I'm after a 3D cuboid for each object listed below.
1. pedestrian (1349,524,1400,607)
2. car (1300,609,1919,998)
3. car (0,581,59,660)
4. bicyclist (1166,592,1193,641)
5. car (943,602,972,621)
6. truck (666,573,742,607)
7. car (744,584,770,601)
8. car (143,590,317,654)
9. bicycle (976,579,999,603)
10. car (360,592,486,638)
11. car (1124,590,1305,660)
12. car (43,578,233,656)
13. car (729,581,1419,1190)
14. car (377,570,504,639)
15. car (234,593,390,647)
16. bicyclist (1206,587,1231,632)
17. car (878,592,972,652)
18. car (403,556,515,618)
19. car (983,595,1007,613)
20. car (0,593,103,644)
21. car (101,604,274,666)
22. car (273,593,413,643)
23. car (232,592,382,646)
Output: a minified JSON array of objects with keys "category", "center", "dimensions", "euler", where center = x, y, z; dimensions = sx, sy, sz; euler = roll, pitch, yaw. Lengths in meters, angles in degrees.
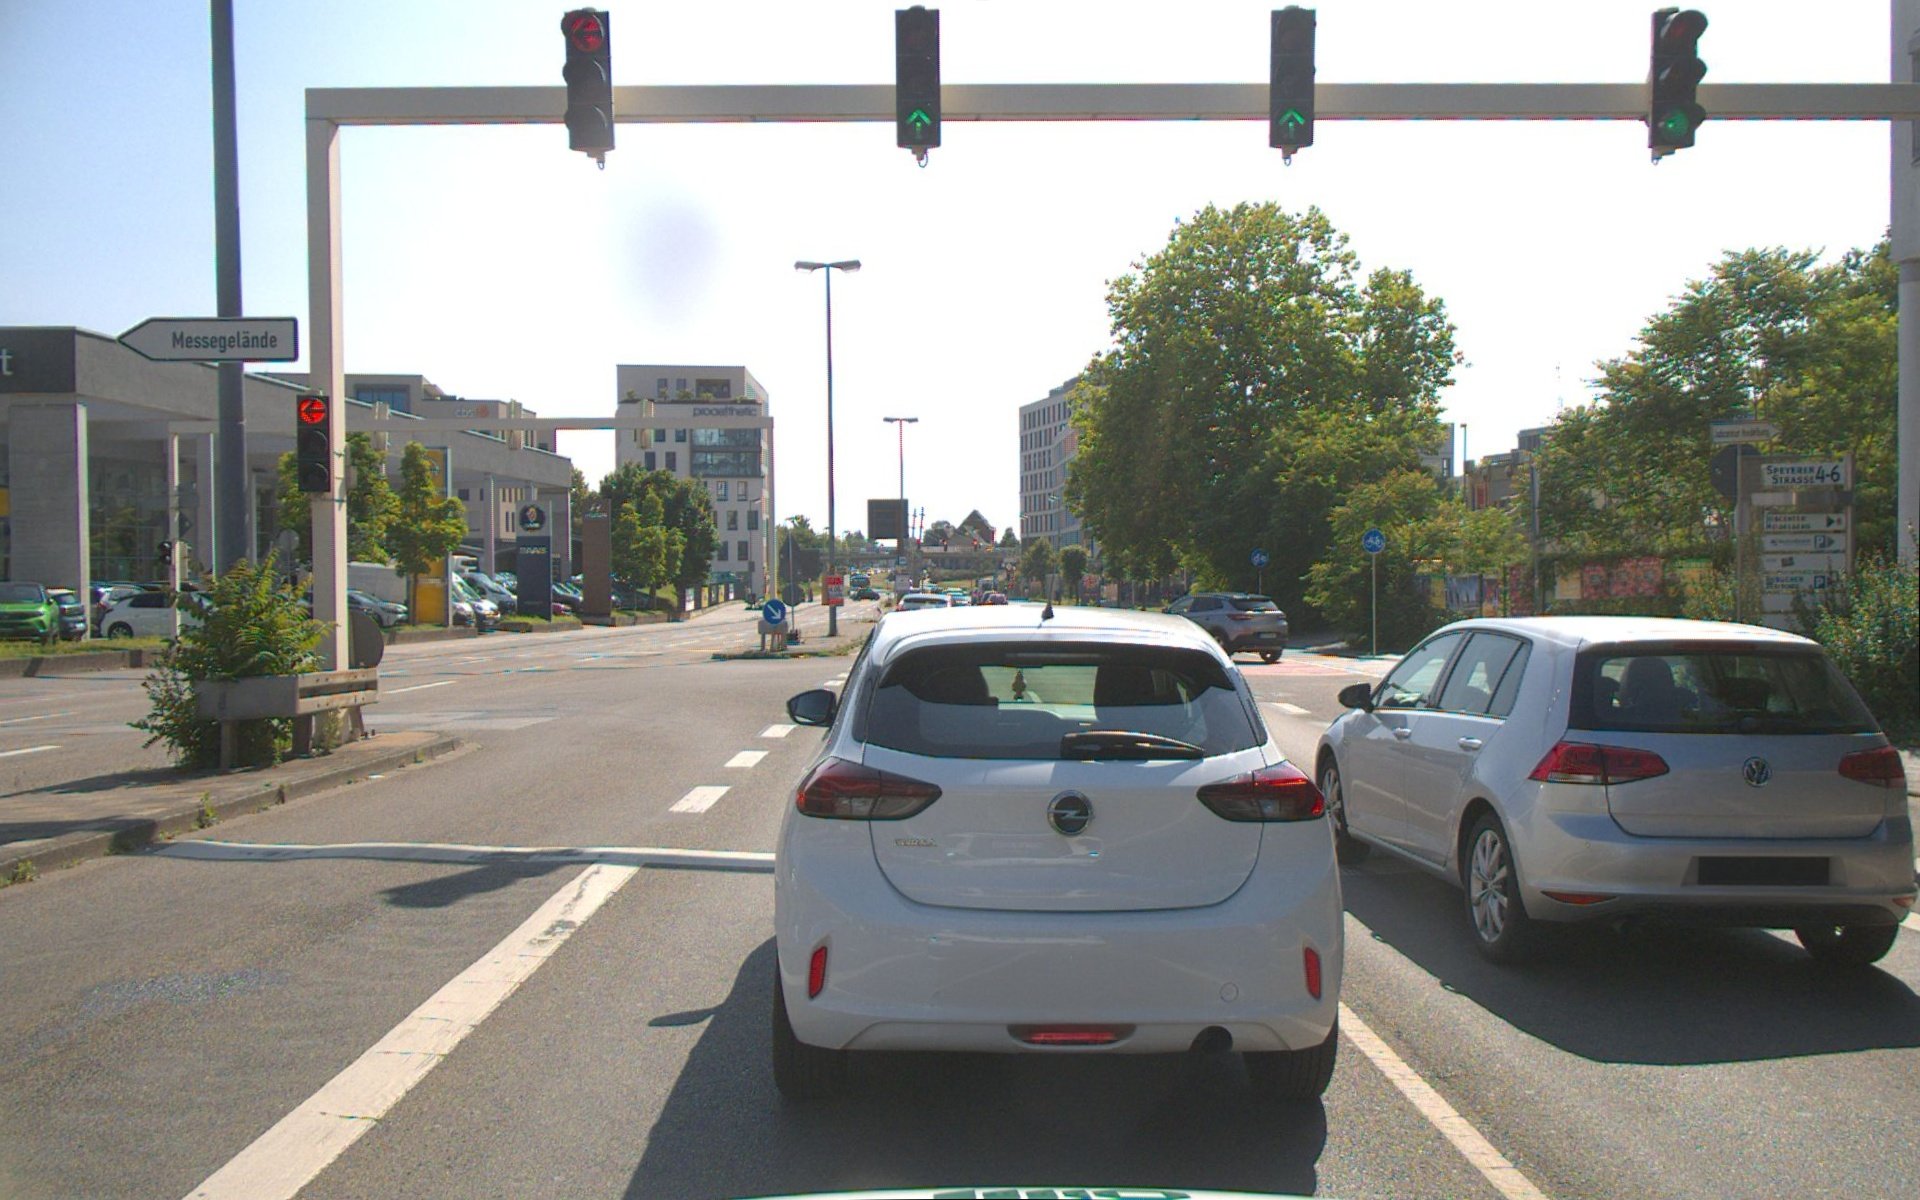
[{"category":"pedestrian","center":[10.441,-0.868,41.717],"dimensions":[1.006,2.049,1.038],"euler":[0,0,-1]},{"category":"car","center":[3.041,0.784,8.298],"dimensions":[1.770,1.454,3.999],"euler":[-1,0,-1]},{"category":"car","center":[-22.555,0.506,38.929],"dimensions":[1.887,1.764,3.250],"euler":[-1,-1,-37]},{"category":"bicyclist","center":[8.158,0.599,61.447],"dimensions":[0.861,1.803,0.863],"euler":[0,0,-1]},{"category":"car","center":[-0.190,0.830,122.491],"dimensions":[1.954,1.355,3.997],"euler":[1,-1,-3]},{"category":"truck","center":[-30.519,-1.205,197.304],"dimensions":[8.896,3.901,3.074],"euler":[-1,0,-10]},{"category":"car","center":[-17.407,-0.635,141.955],"dimensions":[1.769,1.410,3.999],"euler":[1,-1,-1]},{"category":"car","center":[-21.382,0.631,48.606],"dimensions":[4.211,1.796,1.999],"euler":[-1,0,-4]},{"category":"bicycle","center":[2.561,-0.878,155.434],"dimensions":[1.953,2.195,3.999],"euler":[0,0,-1]},{"category":"car","center":[-21.062,0.581,64.944],"dimensions":[4.266,1.726,2.000],"euler":[-1,0,1]},{"category":"car","center":[6.105,0.573,40.118],"dimensions":[1.975,1.578,4.384],"euler":[-1,0,-32]},{"category":"car","center":[-20.724,0.416,41.824],"dimensions":[3.793,1.870,1.999],"euler":[-1,0,-4]},{"category":"car","center":[0.258,0.714,6.197],"dimensions":[1.743,1.520,3.999],"euler":[-1,0,-1]},{"category":"car","center":[-21.133,0.166,67.392],"dimensions":[4.401,2.731,2.130],"euler":[0,0,8]},{"category":"car","center":[-21.012,0.635,53.748],"dimensions":[4.270,1.726,1.999],"euler":[0,0,-3]},{"category":"bicyclist","center":[9.503,0.345,60.824],"dimensions":[0.675,1.672,0.775],"euler":[0,0,-9]},{"category":"car","center":[-0.855,0.538,43.239],"dimensions":[1.951,1.472,4.374],"euler":[0,0,6]},{"category":"car","center":[-21.979,-0.554,72.693],"dimensions":[4.265,2.646,2.001],"euler":[-1,0,4]},{"category":"car","center":[2.828,0.320,135.283],"dimensions":[1.769,1.410,3.999],"euler":[1,-1,-1]},{"category":"car","center":[-26.259,0.550,45.508],"dimensions":[4.276,1.290,1.996],"euler":[-2,-1,-9]},{"category":"car","center":[-21.404,0.944,45.949],"dimensions":[3.912,1.627,1.997],"euler":[-1,0,-8]},{"category":"car","center":[-22.059,0.628,59.225],"dimensions":[4.270,1.726,1.999],"euler":[-1,0,-4]},{"category":"car","center":[-22.052,0.628,55.961],"dimensions":[4.270,1.726,1.999],"euler":[-1,0,-4]}]
